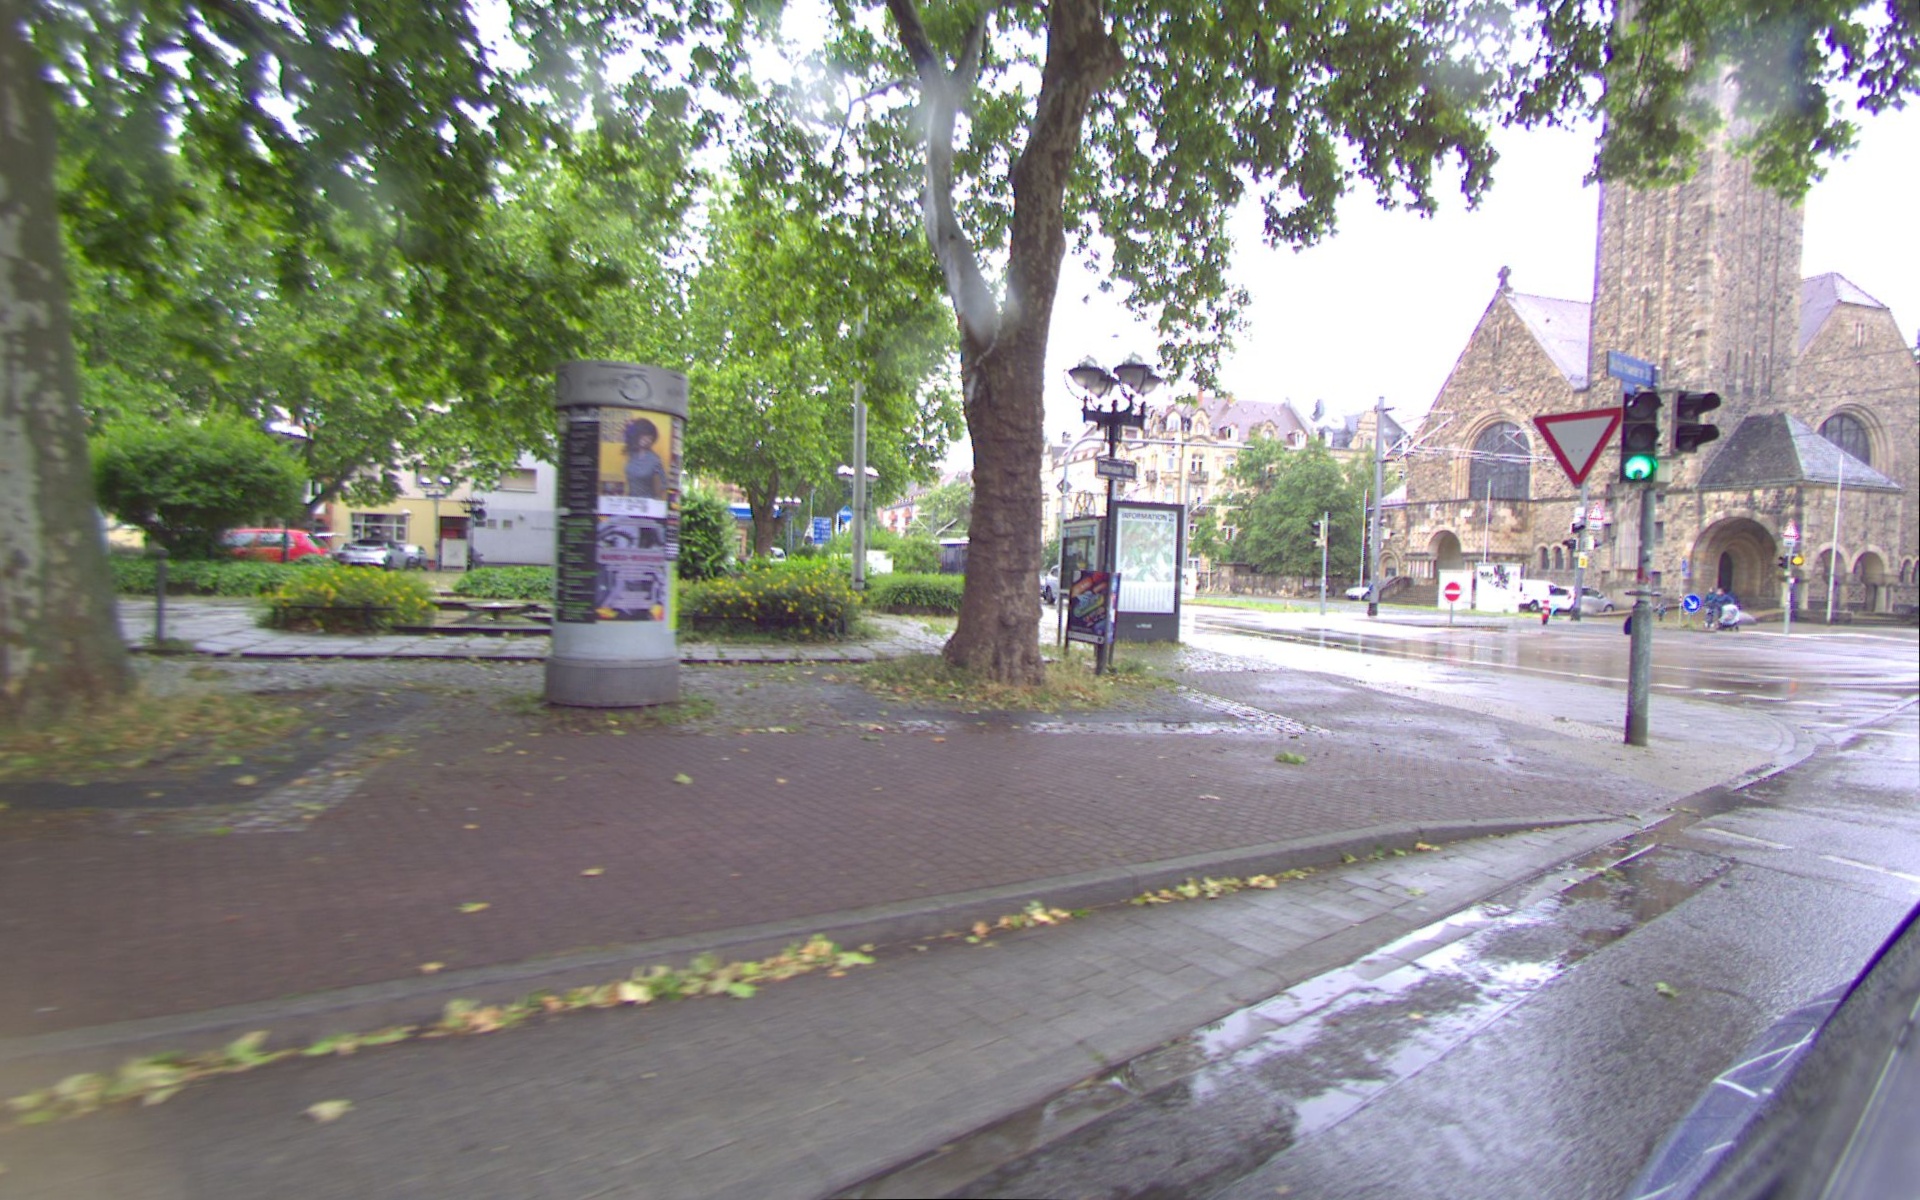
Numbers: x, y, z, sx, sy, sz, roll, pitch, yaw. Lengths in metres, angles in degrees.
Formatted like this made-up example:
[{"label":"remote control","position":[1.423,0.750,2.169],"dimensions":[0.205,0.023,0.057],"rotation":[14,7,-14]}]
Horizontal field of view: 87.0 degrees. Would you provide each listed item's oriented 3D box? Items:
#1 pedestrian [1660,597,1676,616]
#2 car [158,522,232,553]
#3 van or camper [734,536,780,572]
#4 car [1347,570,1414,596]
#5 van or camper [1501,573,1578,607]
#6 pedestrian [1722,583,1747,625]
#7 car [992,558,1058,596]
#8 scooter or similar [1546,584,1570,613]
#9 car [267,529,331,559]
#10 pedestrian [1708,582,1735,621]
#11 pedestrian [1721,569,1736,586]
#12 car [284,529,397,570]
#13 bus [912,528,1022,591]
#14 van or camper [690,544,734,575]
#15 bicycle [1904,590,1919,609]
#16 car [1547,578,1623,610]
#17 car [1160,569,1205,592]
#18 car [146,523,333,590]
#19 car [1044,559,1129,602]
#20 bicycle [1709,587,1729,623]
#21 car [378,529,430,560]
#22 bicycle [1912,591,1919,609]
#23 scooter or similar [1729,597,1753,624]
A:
[{"label":"pedestrian","position":[34.277,0.323,48.969],"dimensions":[0.388,0.895,0.457],"rotation":[2,2,-19]},{"label":"car","position":[-39.580,-3.224,52.453],"dimensions":[1.642,1.470,4.010],"rotation":[1,3,-14]},{"label":"van or camper","position":[-12.001,-2.697,59.489],"dimensions":[1.958,1.938,4.682],"rotation":[2,2,-20]},{"label":"car","position":[29.667,-1.213,71.387],"dimensions":[3.915,1.638,2.005],"rotation":[1,2,-16]},{"label":"van or camper","position":[33.608,-0.600,58.730],"dimensions":[3.848,1.748,1.653],"rotation":[-2,3,-16]},{"label":"pedestrian","position":[32.371,0.164,42.308],"dimensions":[0.676,1.684,0.605],"rotation":[1,2,-37]},{"label":"car","position":[3.059,-1.136,48.362],"dimensions":[1.741,1.619,4.189],"rotation":[2,2,-17]},{"label":"scooter or similar","position":[30.006,-0.090,50.778],"dimensions":[0.280,1.404,1.106],"rotation":[2,2,-17]},{"label":"car","position":[-34.855,-2.937,53.475],"dimensions":[1.642,1.470,4.010],"rotation":[1,3,-14]},{"label":"pedestrian","position":[34.490,0.049,45.861],"dimensions":[0.664,1.724,0.635],"rotation":[2,2,-20]},{"label":"pedestrian","position":[41.571,-1.199,54.730],"dimensions":[0.447,0.895,0.397],"rotation":[2,2,-17]},{"label":"car","position":[-26.973,-2.208,44.207],"dimensions":[3.916,1.637,2.005],"rotation":[1,2,-20]},{"label":"bus","position":[0.110,-2.389,59.026],"dimensions":[2.832,3.151,12.133],"rotation":[2,2,-17]},{"label":"van or camper","position":[-14.325,-2.344,58.199],"dimensions":[1.958,1.618,4.682],"rotation":[2,2,-20]},{"label":"bicycle","position":[56.272,0.006,58.844],"dimensions":[0.569,1.073,1.933],"rotation":[2,3,-21]},{"label":"car","position":[34.255,-0.359,55.476],"dimensions":[3.288,1.593,1.740],"rotation":[-2,3,-13]},{"label":"car","position":[19.258,-1.746,87.670],"dimensions":[1.938,1.815,4.010],"rotation":[1,2,-19]},{"label":"car","position":[-18.151,-1.097,25.696],"dimensions":[3.602,1.540,1.672],"rotation":[1,2,-25]},{"label":"car","position":[5.134,-0.840,41.733],"dimensions":[1.754,1.619,4.567],"rotation":[2,2,-17]},{"label":"bicycle","position":[32.102,0.195,42.804],"dimensions":[0.531,1.484,1.912],"rotation":[3,2,40]},{"label":"car","position":[-30.061,-2.993,54.808],"dimensions":[1.790,1.571,3.905],"rotation":[1,3,-18]},{"label":"bicycle","position":[56.921,0.044,59.023],"dimensions":[0.569,1.073,1.933],"rotation":[2,3,-18]},{"label":"scooter or similar","position":[32.224,0.440,41.760],"dimensions":[0.907,1.061,0.515],"rotation":[1,2,-37]}]
